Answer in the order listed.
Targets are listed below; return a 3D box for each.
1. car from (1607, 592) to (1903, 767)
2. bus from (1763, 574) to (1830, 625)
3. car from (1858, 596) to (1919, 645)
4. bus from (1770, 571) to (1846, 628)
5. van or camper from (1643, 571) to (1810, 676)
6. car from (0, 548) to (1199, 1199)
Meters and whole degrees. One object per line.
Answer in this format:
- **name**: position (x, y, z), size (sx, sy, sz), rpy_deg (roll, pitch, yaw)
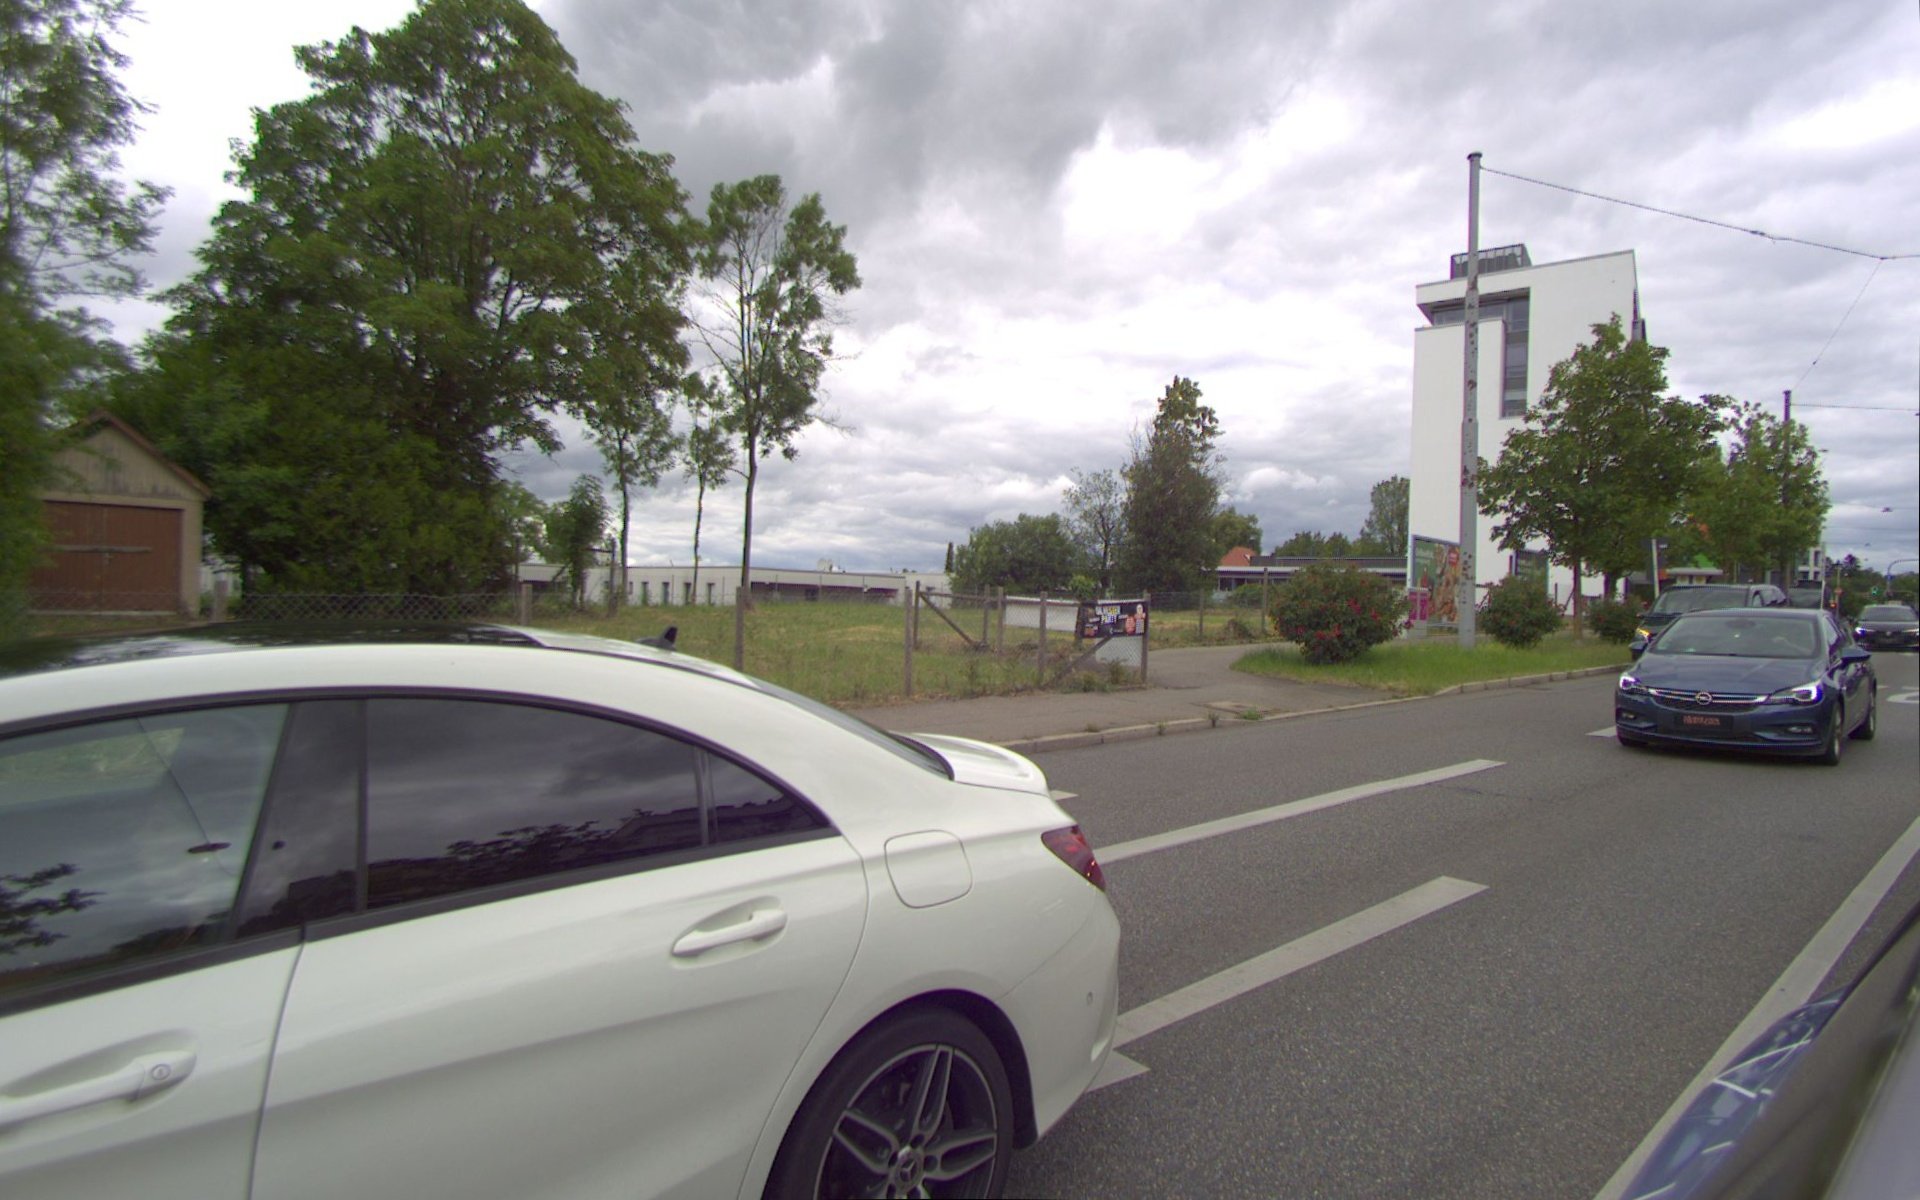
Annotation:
- **car**: position (8.572, 0.690, 10.768), size (4.293, 1.501, 1.733), rpy_deg (0, 0, -41)
- **bus**: position (58.508, -0.007, 70.968), size (3.028, 3.276, 9.214), rpy_deg (2, 1, 36)
- **car**: position (30.243, 0.627, 32.598), size (1.727, 1.501, 4.308), rpy_deg (0, 0, 38)
- **bus**: position (53.027, -0.048, 63.486), size (2.975, 3.282, 9.734), rpy_deg (1, 1, 37)
- **van or camper**: position (15.701, 0.429, 20.632), size (4.764, 1.902, 1.807), rpy_deg (0, 0, -41)
- **car**: position (-1.732, 0.704, 1.815), size (4.690, 1.524, 1.870), rpy_deg (1, -1, -42)
